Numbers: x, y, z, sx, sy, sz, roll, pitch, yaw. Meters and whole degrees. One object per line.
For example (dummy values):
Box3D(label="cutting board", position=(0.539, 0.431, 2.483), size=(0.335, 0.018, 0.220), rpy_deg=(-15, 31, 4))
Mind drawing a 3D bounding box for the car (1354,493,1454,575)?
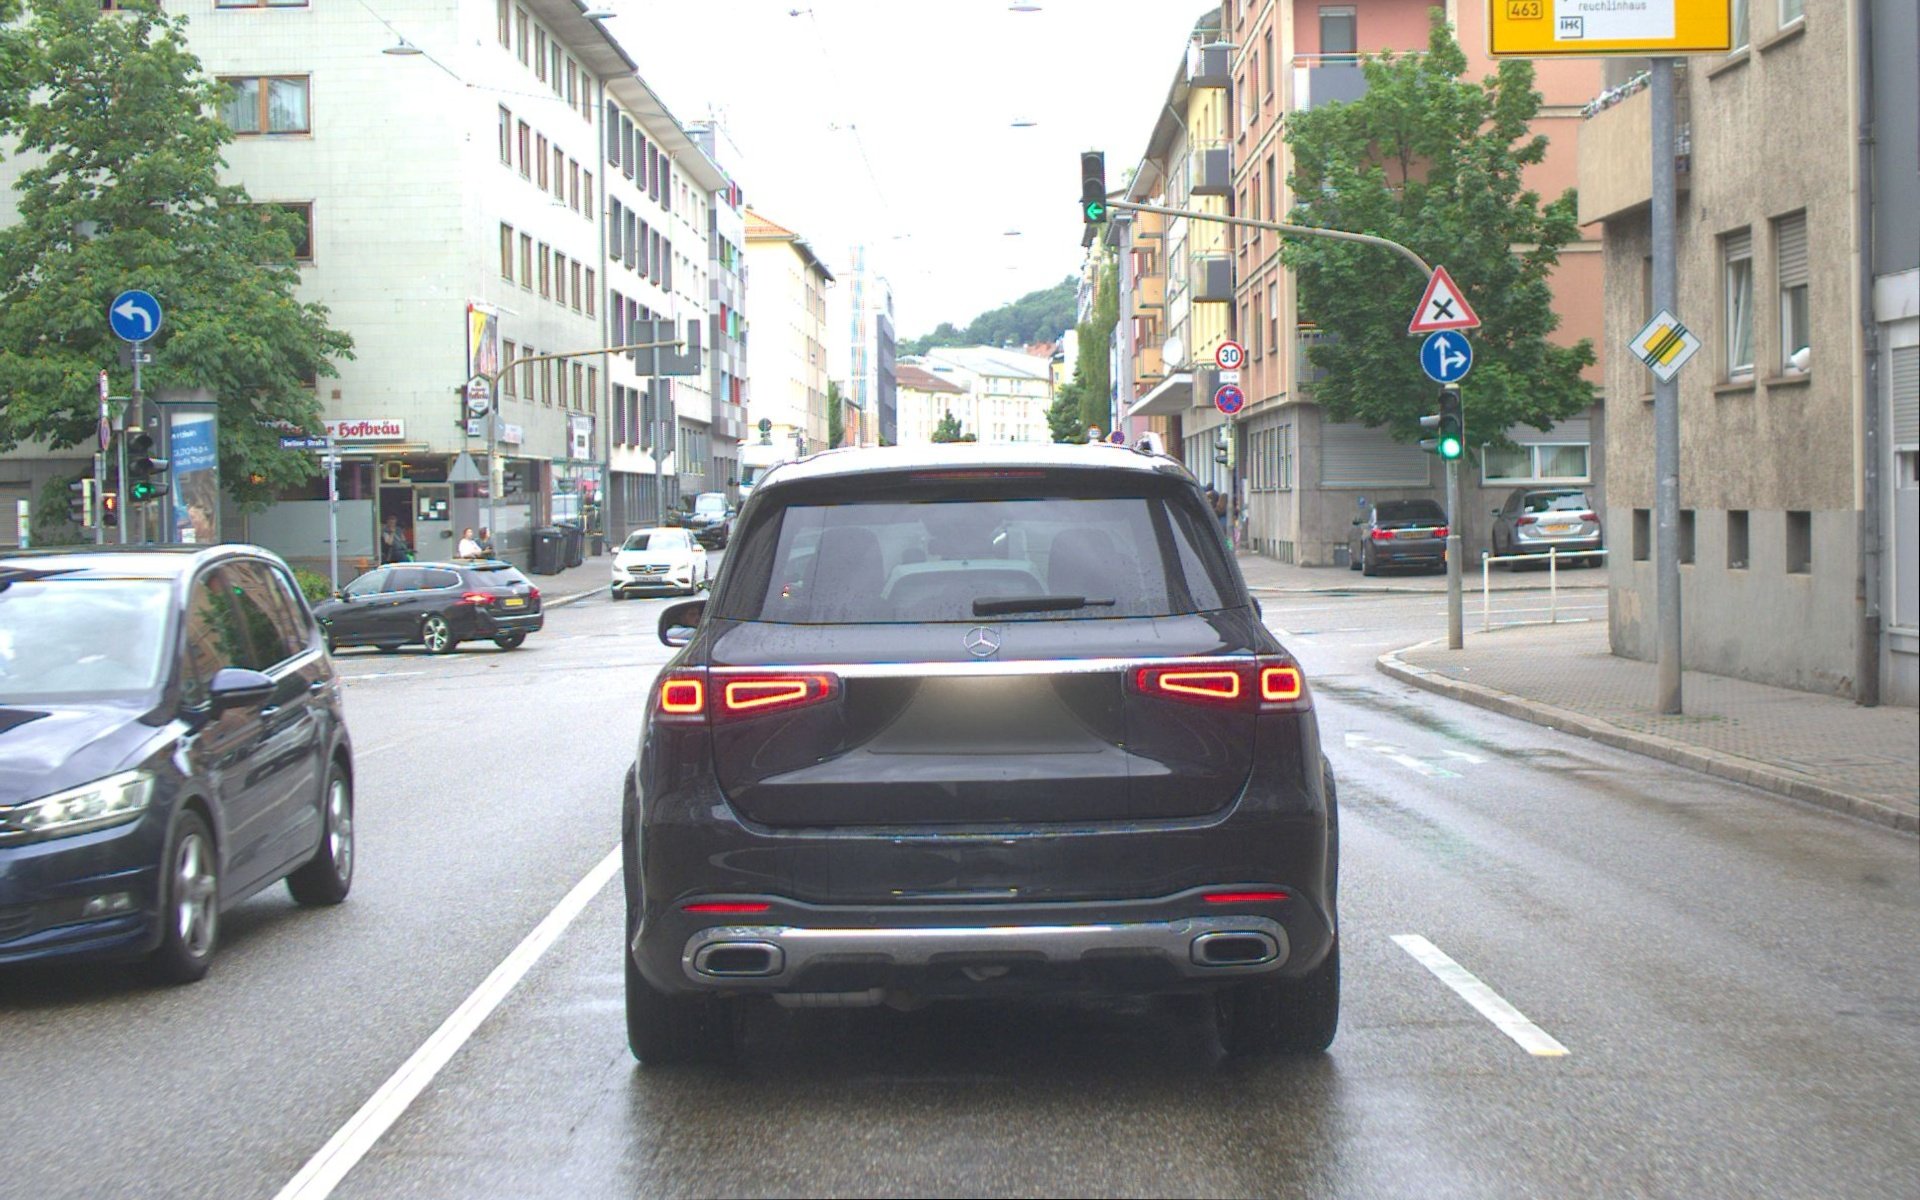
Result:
Box3D(label="car", position=(8.947, -1.330, 69.448), size=(1.671, 1.583, 3.330), rpy_deg=(-1, 1, 2))

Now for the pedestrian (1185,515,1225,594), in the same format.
Box3D(label="pedestrian", position=(6.285, -1.166, 88.119), size=(0.923, 2.007, 0.706), rpy_deg=(-1, 1, -2))

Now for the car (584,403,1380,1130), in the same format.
Box3D(label="car", position=(0.040, 0.425, 11.026), size=(1.985, 1.799, 4.390), rpy_deg=(2, 0, 0))

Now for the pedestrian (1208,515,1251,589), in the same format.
Box3D(label="pedestrian", position=(6.569, -1.173, 83.811), size=(0.923, 1.798, 0.706), rpy_deg=(-1, 1, -2))

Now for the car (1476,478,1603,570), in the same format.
Box3D(label="car", position=(11.673, -1.523, 69.412), size=(1.823, 1.789, 3.832), rpy_deg=(-1, 1, -1))

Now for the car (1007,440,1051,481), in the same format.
Box3D(label="car", position=(3.207, -6.499, 160.299), size=(1.723, 1.754, 4.218), rpy_deg=(-1, 1, -2))

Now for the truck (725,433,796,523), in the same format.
Box3D(label="truck", position=(-7.593, -4.608, 131.935), size=(2.479, 3.035, 9.921), rpy_deg=(-2, 0, -3))

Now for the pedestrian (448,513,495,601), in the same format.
Box3D(label="pedestrian", position=(-9.852, -0.867, 69.377), size=(0.636, 1.758, 0.772), rpy_deg=(-1, 1, 16))

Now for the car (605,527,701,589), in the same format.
Box3D(label="car", position=(-6.721, -0.908, 75.663), size=(1.885, 1.260, 4.218), rpy_deg=(-2, 0, -3))

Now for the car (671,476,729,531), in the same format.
Box3D(label="car", position=(-8.050, -2.970, 106.522), size=(1.618, 1.534, 4.218), rpy_deg=(-2, 0, -3))

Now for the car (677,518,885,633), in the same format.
Box3D(label="car", position=(-2.618, -0.334, 49.566), size=(1.772, 1.534, 3.764), rpy_deg=(-2, 0, -23))

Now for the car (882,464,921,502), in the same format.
Box3D(label="car", position=(-2.696, -5.368, 158.109), size=(1.618, 1.534, 4.218), rpy_deg=(-2, 0, -3))

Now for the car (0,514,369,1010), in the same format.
Box3D(label="car", position=(-3.608, 0.512, 13.703), size=(1.772, 1.640, 4.412), rpy_deg=(-2, 1, -1))

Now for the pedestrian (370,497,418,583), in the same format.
Box3D(label="pedestrian", position=(-12.615, -1.336, 76.645), size=(0.923, 1.895, 0.706), rpy_deg=(-1, 1, -2))

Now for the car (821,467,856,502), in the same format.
Box3D(label="car", position=(-5.967, -5.640, 168.567), size=(1.618, 1.534, 4.218), rpy_deg=(-2, 0, -3))

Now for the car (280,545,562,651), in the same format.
Box3D(label="car", position=(-8.634, -0.029, 54.916), size=(4.352, 1.534, 1.775), rpy_deg=(-2, 0, 33))
